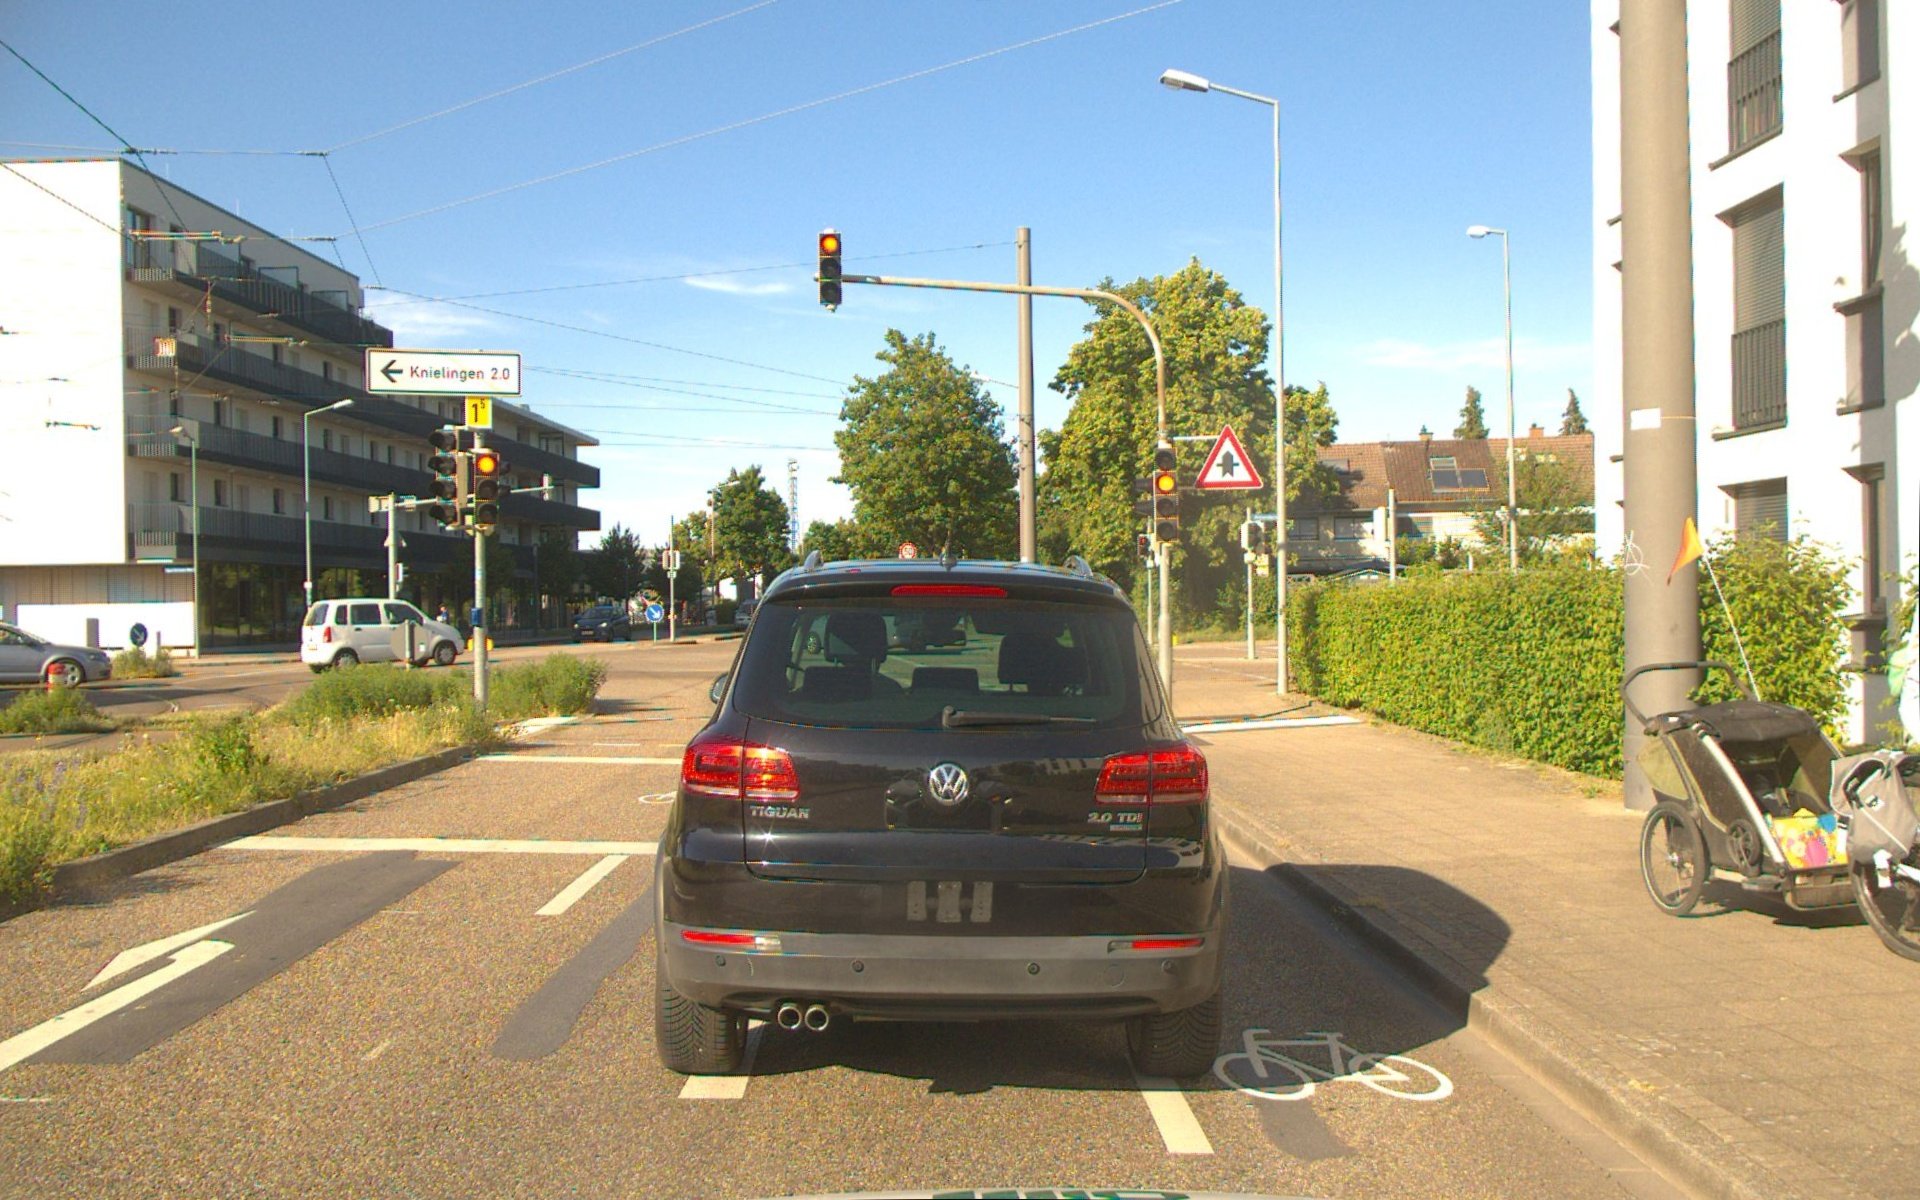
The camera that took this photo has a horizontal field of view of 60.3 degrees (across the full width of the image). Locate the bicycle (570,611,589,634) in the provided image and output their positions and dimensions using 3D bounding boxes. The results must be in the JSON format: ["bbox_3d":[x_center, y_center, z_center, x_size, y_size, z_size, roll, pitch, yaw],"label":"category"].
[{"bbox_3d":[-22.730,1.319,98.826,0.617,1.355,1.912,1,0,0],"label":"bicycle"}]

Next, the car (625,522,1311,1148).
[{"bbox_3d":[-0.001,0.646,6.475,1.831,1.666,3.999,1,0,-1],"label":"car"}]

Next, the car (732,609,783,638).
[{"bbox_3d":[-11.722,1.360,96.065,1.951,1.601,4.342,1,0,7],"label":"car"}]

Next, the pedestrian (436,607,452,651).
[{"bbox_3d":[-18.240,1.027,58.456,0.433,1.529,0.517,1,-1,-6],"label":"pedestrian"}]

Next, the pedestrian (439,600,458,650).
[{"bbox_3d":[-18.249,0.893,58.976,0.532,1.774,0.517,1,-1,-6],"label":"pedestrian"}]

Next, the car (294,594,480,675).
[{"bbox_3d":[-13.201,0.748,38.177,3.651,1.750,1.843,-1,0,-40],"label":"car"}]

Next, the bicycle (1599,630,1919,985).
[{"bbox_3d":[3.723,0.744,6.350,0.911,1.194,3.119,-1,0,-9],"label":"bicycle"}]

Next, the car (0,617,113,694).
[{"bbox_3d":[-19.764,1.146,34.117,4.050,1.511,1.853,-1,0,-28],"label":"car"}]

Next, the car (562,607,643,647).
[{"bbox_3d":[-15.337,1.136,71.221,1.951,1.601,4.343,1,0,9],"label":"car"}]

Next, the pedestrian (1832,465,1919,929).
[{"bbox_3d":[3.796,0.331,5.850,0.894,1.622,0.852,-1,0,-10],"label":"pedestrian"}]

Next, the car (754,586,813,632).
[{"bbox_3d":[-6.915,0.359,65.129,1.953,1.713,3.999,1,0,-2],"label":"car"}]

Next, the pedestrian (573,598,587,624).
[{"bbox_3d":[-22.721,0.682,98.883,0.629,1.535,0.596,1,-1,-1],"label":"pedestrian"}]

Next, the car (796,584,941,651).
[{"bbox_3d":[-2.694,0.494,48.403,3.925,1.869,1.990,1,0,40],"label":"car"}]
